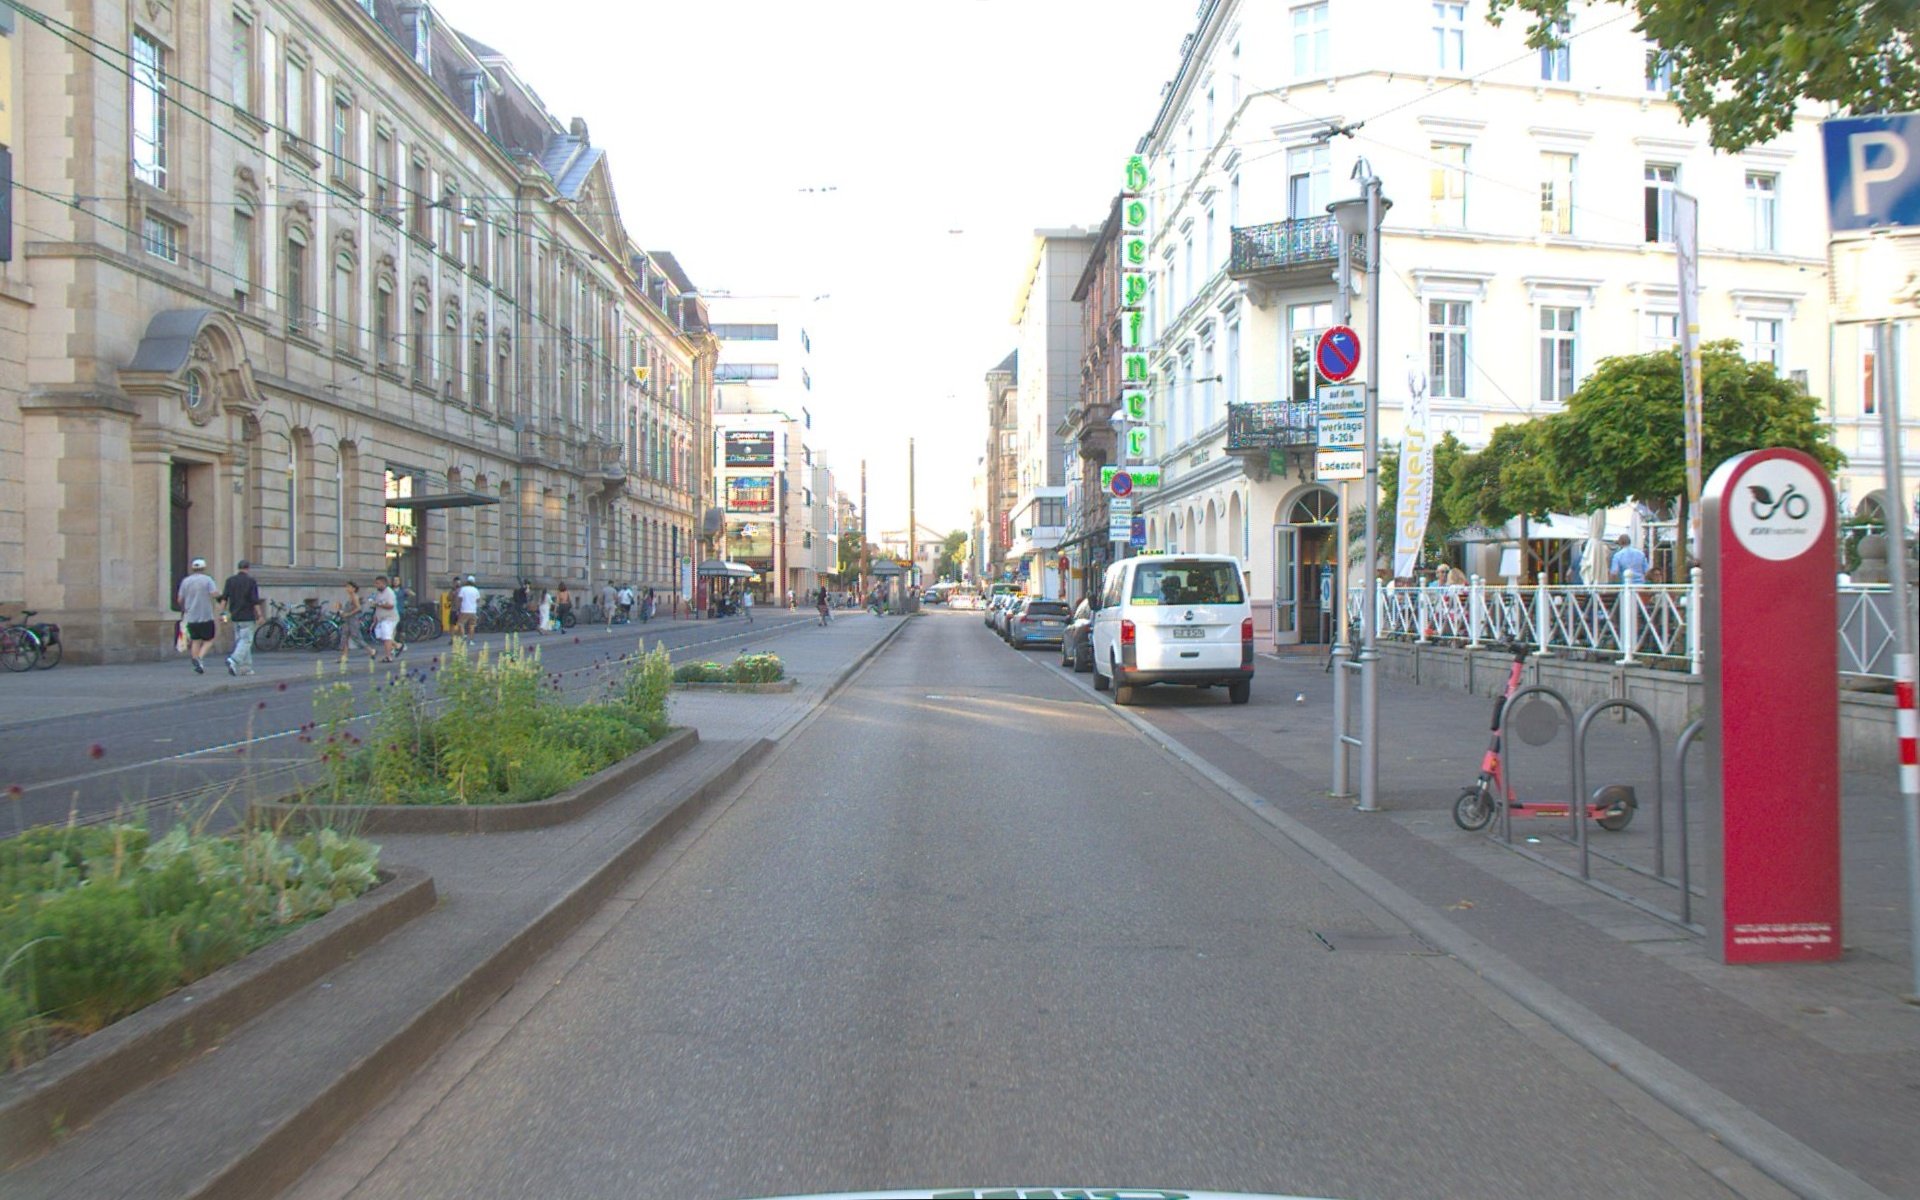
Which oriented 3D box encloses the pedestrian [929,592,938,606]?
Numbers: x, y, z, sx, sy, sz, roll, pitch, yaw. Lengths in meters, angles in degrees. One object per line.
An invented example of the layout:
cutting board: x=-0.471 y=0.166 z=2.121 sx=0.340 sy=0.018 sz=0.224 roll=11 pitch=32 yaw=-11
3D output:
pedestrian: x=-3.362 y=-0.117 z=211.476 sx=0.768 sy=1.765 sz=0.809 roll=-2 pitch=-2 yaw=39

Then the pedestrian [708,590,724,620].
pedestrian: x=-12.965 y=0.276 z=87.881 sx=0.764 sy=1.608 sz=0.677 roll=0 pitch=0 yaw=-12

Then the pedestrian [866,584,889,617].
pedestrian: x=-4.330 y=0.051 z=86.960 sx=1.026 sy=1.715 sz=0.909 roll=-1 pitch=-2 yaw=10

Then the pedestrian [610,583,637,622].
pedestrian: x=-14.706 y=0.103 z=72.296 sx=1.033 sy=1.715 sz=0.903 roll=0 pitch=0 yaw=-20

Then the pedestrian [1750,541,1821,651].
pedestrian: x=12.666 y=-0.053 z=25.389 sx=0.742 sy=1.672 sz=0.659 roll=-1 pitch=-2 yaw=1

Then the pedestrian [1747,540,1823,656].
pedestrian: x=12.109 y=-0.022 z=24.289 sx=0.742 sy=1.672 sz=0.659 roll=0 pitch=-2 yaw=-1

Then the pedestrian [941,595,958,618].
pedestrian: x=-0.871 y=0.546 z=138.349 sx=1.209 sy=1.962 sz=1.017 roll=0 pitch=0 yaw=-17

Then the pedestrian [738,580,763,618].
pedestrian: x=-9.604 y=-0.036 z=75.885 sx=1.027 sy=1.715 sz=0.908 roll=0 pitch=0 yaw=-1

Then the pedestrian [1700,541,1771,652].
pedestrian: x=11.828 y=-0.041 z=25.238 sx=0.742 sy=1.672 sz=0.659 roll=0 pitch=-2 yaw=0

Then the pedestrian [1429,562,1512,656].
pedestrian: x=7.459 y=0.143 z=24.210 sx=0.884 sy=1.337 sz=0.966 roll=0 pitch=-2 yaw=-2

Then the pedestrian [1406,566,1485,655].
pedestrian: x=7.426 y=0.169 z=25.338 sx=0.884 sy=1.329 sz=0.966 roll=0 pitch=-2 yaw=-2

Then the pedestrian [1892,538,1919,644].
pedestrian: x=14.308 y=-0.125 z=24.806 sx=0.500 sy=1.575 sz=0.577 roll=-1 pitch=-2 yaw=24

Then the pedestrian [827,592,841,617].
pedestrian: x=-9.887 y=0.319 z=129.543 sx=0.891 sy=1.962 sz=0.847 roll=0 pitch=0 yaw=-17

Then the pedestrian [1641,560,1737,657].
pedestrian: x=10.465 y=0.126 z=23.775 sx=0.944 sy=1.360 sz=0.905 roll=0 pitch=-2 yaw=-1

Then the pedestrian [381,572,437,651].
pedestrian: x=-12.296 y=0.268 z=36.931 sx=0.854 sy=1.740 sz=1.131 roll=0 pitch=-2 yaw=0

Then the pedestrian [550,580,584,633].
pedestrian: x=-12.967 y=0.212 z=54.604 sx=1.030 sy=1.715 sz=0.906 roll=0 pitch=-2 yaw=-10

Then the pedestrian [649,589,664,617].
pedestrian: x=-15.821 y=0.173 z=86.219 sx=0.616 sy=1.454 sz=0.711 roll=0 pitch=0 yaw=5

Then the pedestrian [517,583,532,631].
pedestrian: x=-15.434 y=0.237 z=58.612 sx=0.507 sy=1.702 sz=0.480 roll=0 pitch=0 yaw=-16

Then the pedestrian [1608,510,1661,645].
pedestrian: x=11.879 y=-0.392 z=29.138 sx=0.604 sy=2.345 sz=0.577 roll=0 pitch=-2 yaw=-22

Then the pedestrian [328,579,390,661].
pedestrian: x=-11.490 y=0.384 z=31.639 sx=0.746 sy=1.540 sz=0.858 roll=0 pitch=-1 yaw=42

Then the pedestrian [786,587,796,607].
pedestrian: x=-16.417 y=-0.291 z=160.748 sx=0.831 sy=1.962 sz=0.908 roll=0 pitch=0 yaw=0

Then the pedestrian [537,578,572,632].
pedestrian: x=-12.984 y=0.174 z=52.933 sx=1.030 sy=1.715 sz=0.906 roll=0 pitch=-2 yaw=-10

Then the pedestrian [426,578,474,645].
pedestrian: x=-13.519 y=0.303 z=43.824 sx=0.855 sy=1.750 sz=0.882 roll=-1 pitch=-2 yaw=23

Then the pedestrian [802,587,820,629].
pedestrian: x=-5.879 y=0.318 z=65.256 sx=0.676 sy=1.665 sz=0.580 roll=0 pitch=0 yaw=-9

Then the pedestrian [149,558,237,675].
pedestrian: x=-12.224 y=0.272 z=26.380 sx=0.943 sy=1.817 sz=0.906 roll=-1 pitch=-2 yaw=5

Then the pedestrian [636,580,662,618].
pedestrian: x=-13.985 y=-0.050 z=74.270 sx=1.033 sy=1.715 sz=0.903 roll=0 pitch=0 yaw=-20

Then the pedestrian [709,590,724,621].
pedestrian: x=-12.820 y=0.278 z=87.170 sx=0.760 sy=1.608 sz=0.677 roll=0 pitch=0 yaw=-12

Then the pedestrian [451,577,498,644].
pedestrian: x=-12.516 y=0.281 z=42.660 sx=0.860 sy=1.682 sz=0.876 roll=-1 pitch=-2 yaw=13

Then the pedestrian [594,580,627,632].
pedestrian: x=-11.744 y=0.199 z=55.612 sx=1.030 sy=1.715 sz=0.906 roll=0 pitch=-2 yaw=-10

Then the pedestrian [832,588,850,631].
pedestrian: x=-4.693 y=0.376 z=65.413 sx=0.659 sy=1.665 sz=0.761 roll=0 pitch=0 yaw=-8

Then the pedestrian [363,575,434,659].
pedestrian: x=-10.566 y=0.314 z=31.136 sx=0.706 sy=1.540 sz=1.031 roll=1 pitch=0 yaw=42

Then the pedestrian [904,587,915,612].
pedestrian: x=-3.169 y=-0.034 z=103.219 sx=0.601 sy=1.550 sz=0.619 roll=0 pitch=-2 yaw=-9

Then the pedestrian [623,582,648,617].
pedestrian: x=-15.750 y=-0.023 z=80.262 sx=1.026 sy=1.715 sz=0.791 roll=0 pitch=0 yaw=5

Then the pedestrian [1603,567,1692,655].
pedestrian: x=10.387 y=0.176 z=25.032 sx=0.944 sy=1.289 sz=0.905 roll=0 pitch=-2 yaw=-1
